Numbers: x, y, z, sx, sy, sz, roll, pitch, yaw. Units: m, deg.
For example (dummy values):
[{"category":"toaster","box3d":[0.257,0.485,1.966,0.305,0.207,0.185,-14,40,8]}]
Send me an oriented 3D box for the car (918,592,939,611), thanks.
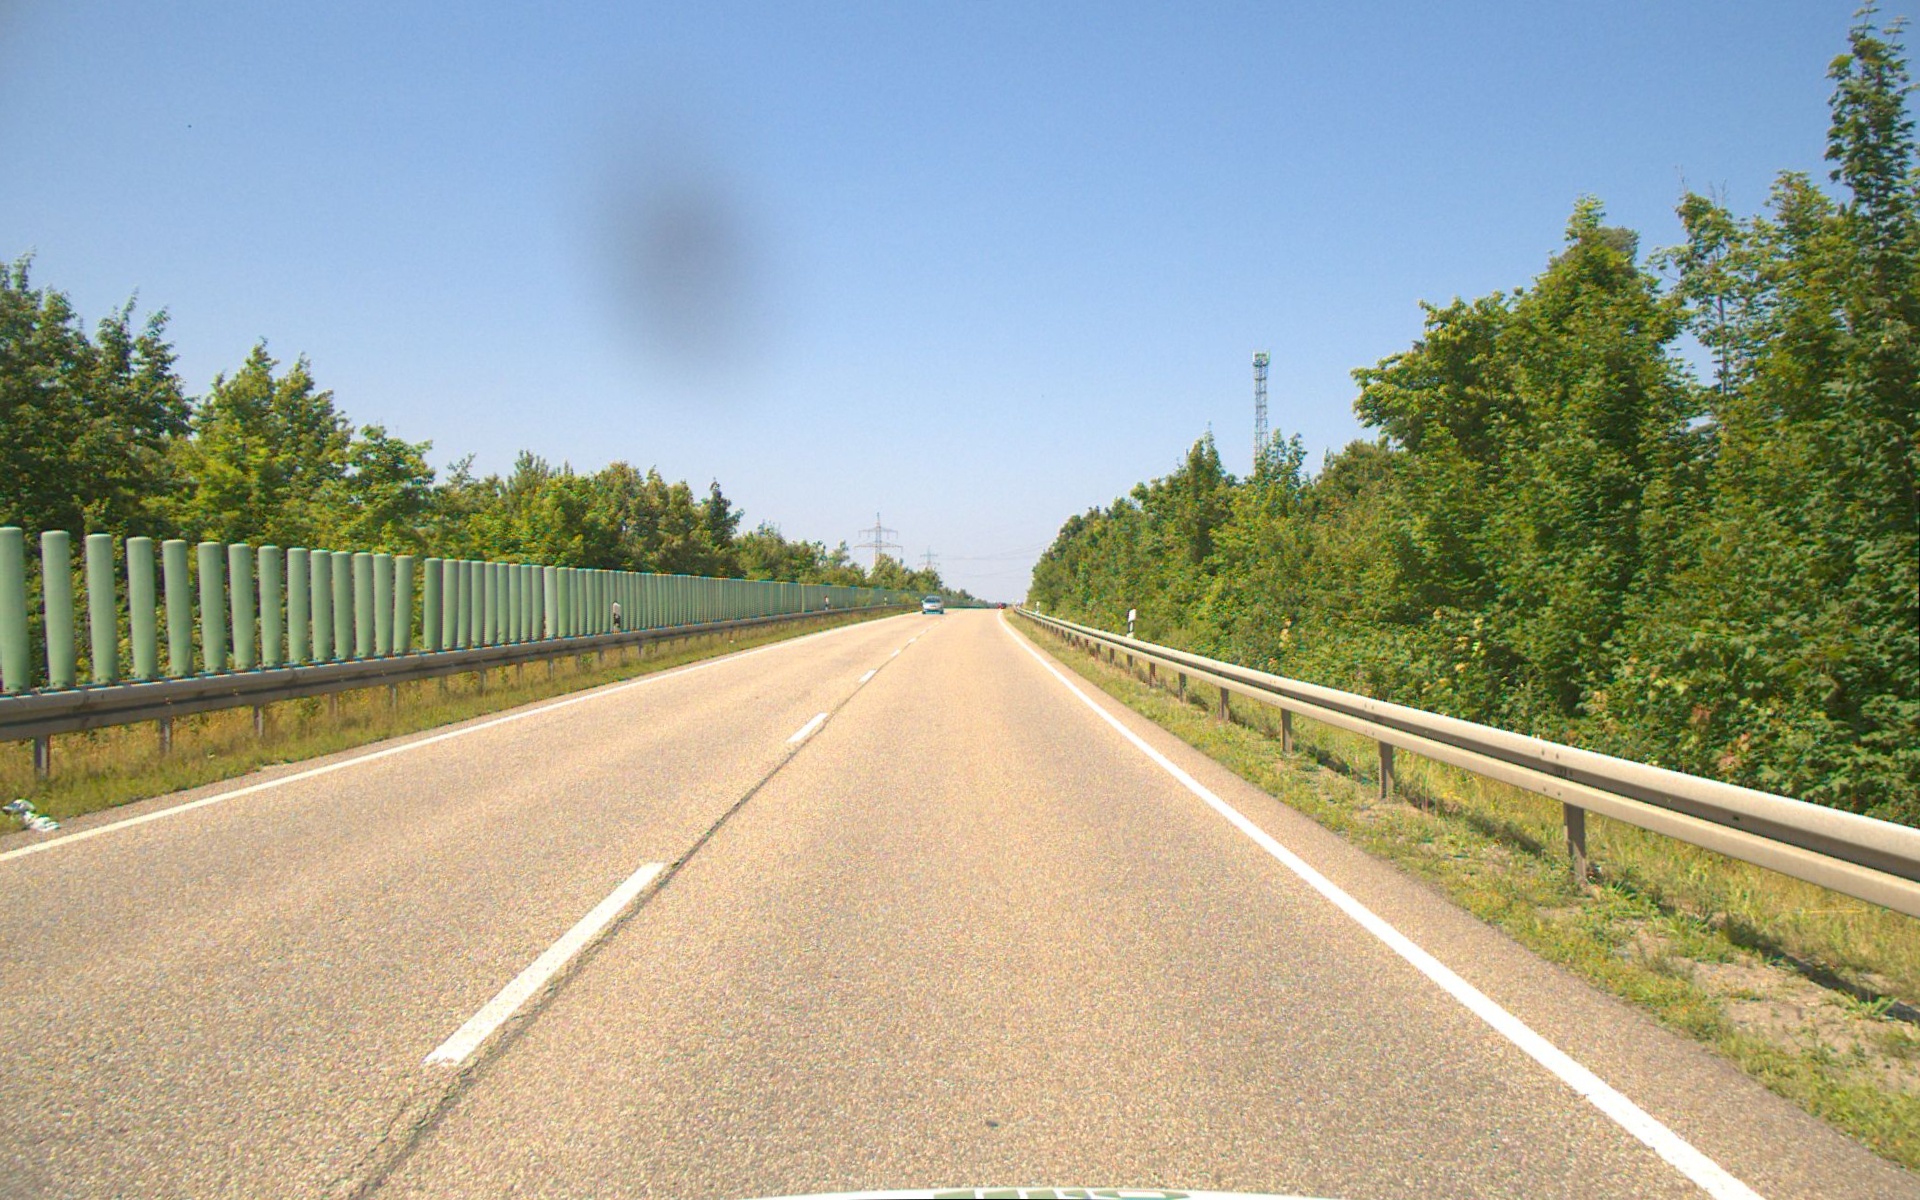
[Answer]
[{"category":"car","box3d":[-2.684,0.130,141.269,1.685,1.527,4.248,1,0,0]}]
